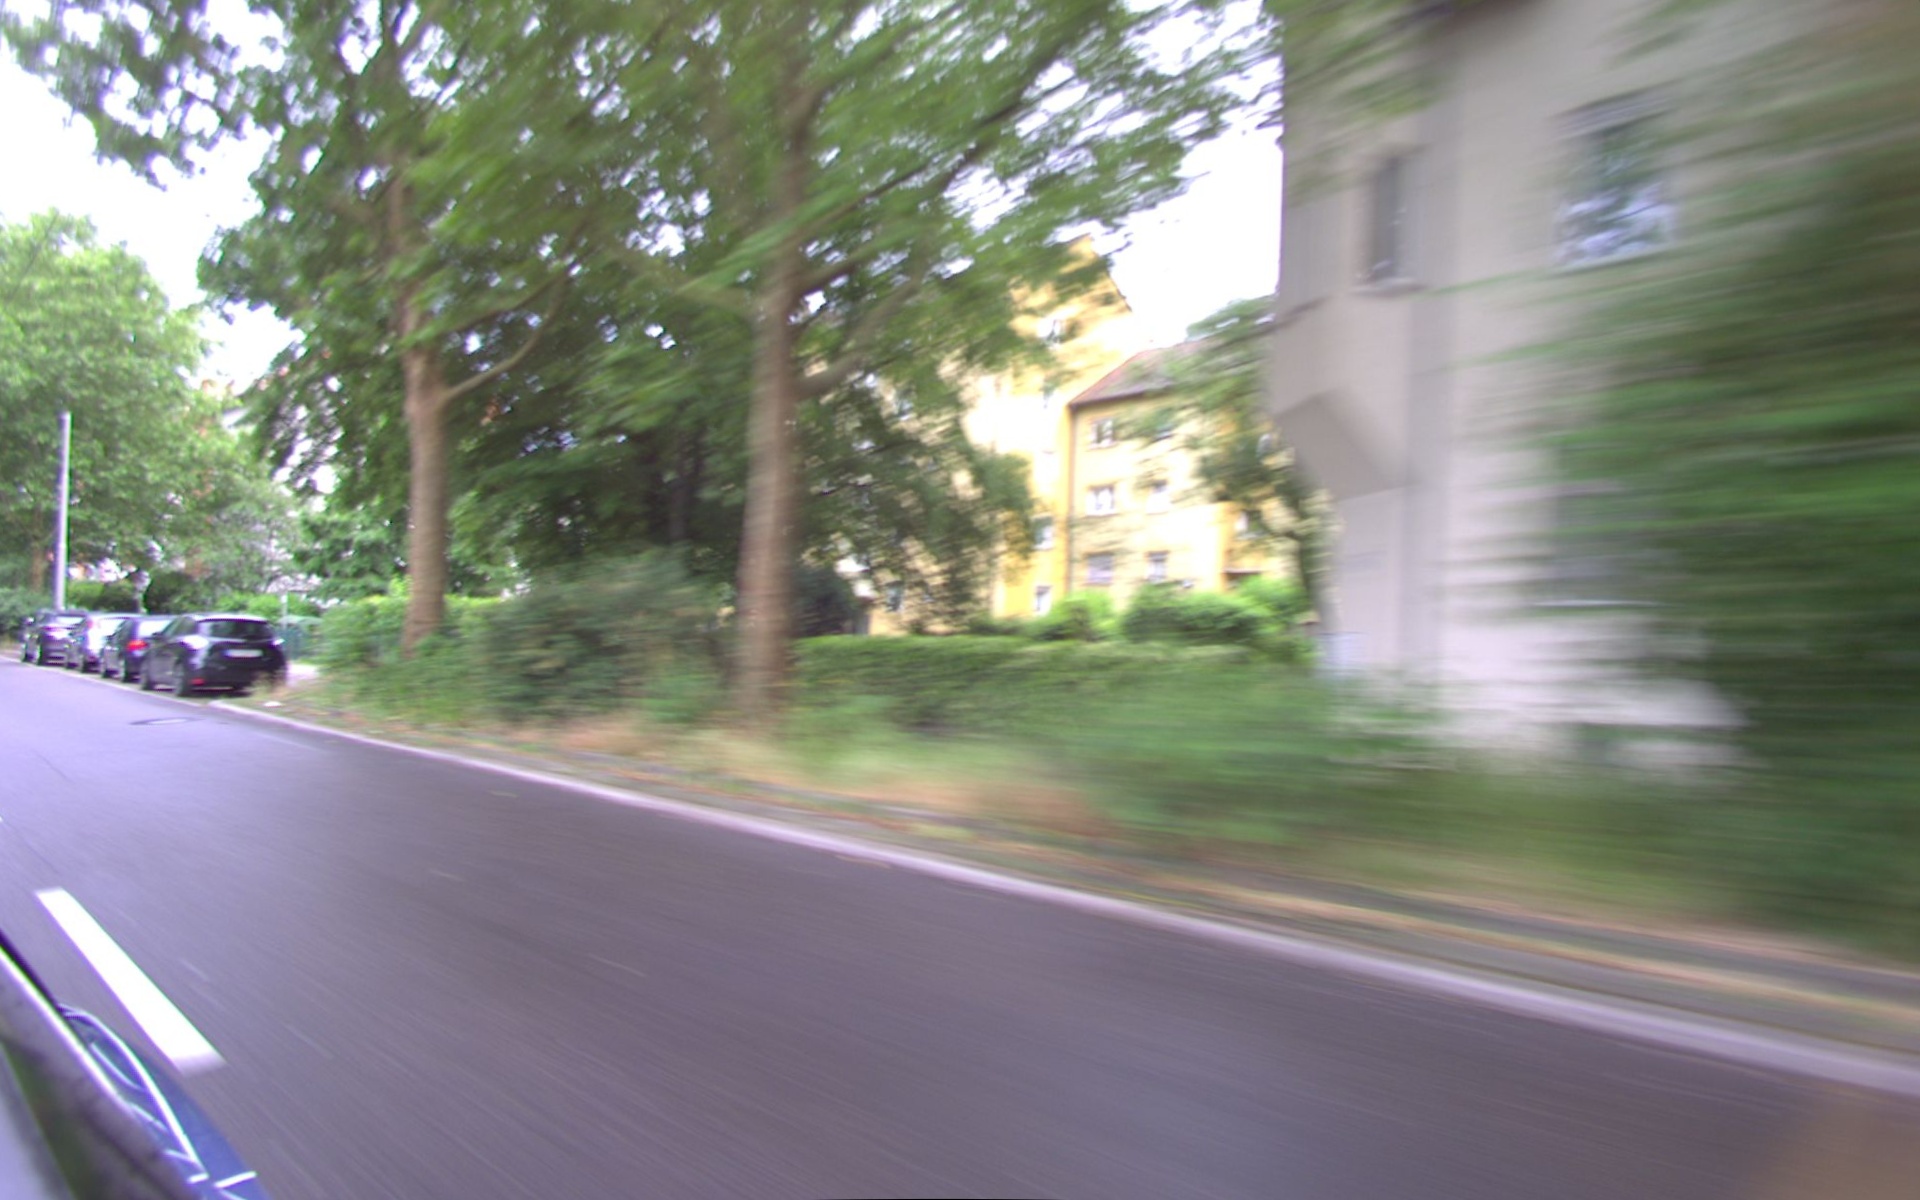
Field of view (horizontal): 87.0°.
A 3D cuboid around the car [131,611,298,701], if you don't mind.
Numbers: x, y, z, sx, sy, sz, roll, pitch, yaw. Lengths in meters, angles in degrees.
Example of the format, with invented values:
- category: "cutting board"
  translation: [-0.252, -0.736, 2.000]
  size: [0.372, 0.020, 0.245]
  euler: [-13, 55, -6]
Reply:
- category: "car"
  translation: [-14.393, 1.051, 19.462]
  size: [4.016, 1.549, 1.631]
  euler: [-1, -5, 41]

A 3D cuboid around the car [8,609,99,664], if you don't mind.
- category: "car"
  translation: [-30.600, 1.225, 34.124]
  size: [4.563, 1.670, 1.715]
  euler: [-1, -6, 42]

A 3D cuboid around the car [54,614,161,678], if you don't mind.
- category: "car"
  translation: [-22.521, 1.141, 26.680]
  size: [4.123, 1.519, 1.654]
  euler: [-1, 0, 43]

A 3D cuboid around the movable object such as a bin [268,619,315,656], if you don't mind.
- category: "movable object such as a bin"
  translation: [-26.160, 1.453, 39.581]
  size: [1.480, 1.390, 1.222]
  euler: [-1, -2, 44]

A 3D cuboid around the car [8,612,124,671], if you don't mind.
- category: "car"
  translation: [-26.244, 1.207, 29.676]
  size: [4.235, 1.603, 1.846]
  euler: [-1, -4, 40]

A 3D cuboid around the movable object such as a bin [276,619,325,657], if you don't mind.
- category: "movable object such as a bin"
  translation: [-25.083, 1.431, 38.494]
  size: [1.480, 1.390, 1.222]
  euler: [-1, -2, 44]

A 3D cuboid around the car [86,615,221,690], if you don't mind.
- category: "car"
  translation: [-18.448, 1.168, 23.088]
  size: [3.872, 1.519, 1.654]
  euler: [-1, -5, 42]

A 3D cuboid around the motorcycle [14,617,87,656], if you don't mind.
- category: "motorcycle"
  translation: [-33.152, 1.352, 36.918]
  size: [0.782, 1.325, 1.821]
  euler: [0, -4, 40]
